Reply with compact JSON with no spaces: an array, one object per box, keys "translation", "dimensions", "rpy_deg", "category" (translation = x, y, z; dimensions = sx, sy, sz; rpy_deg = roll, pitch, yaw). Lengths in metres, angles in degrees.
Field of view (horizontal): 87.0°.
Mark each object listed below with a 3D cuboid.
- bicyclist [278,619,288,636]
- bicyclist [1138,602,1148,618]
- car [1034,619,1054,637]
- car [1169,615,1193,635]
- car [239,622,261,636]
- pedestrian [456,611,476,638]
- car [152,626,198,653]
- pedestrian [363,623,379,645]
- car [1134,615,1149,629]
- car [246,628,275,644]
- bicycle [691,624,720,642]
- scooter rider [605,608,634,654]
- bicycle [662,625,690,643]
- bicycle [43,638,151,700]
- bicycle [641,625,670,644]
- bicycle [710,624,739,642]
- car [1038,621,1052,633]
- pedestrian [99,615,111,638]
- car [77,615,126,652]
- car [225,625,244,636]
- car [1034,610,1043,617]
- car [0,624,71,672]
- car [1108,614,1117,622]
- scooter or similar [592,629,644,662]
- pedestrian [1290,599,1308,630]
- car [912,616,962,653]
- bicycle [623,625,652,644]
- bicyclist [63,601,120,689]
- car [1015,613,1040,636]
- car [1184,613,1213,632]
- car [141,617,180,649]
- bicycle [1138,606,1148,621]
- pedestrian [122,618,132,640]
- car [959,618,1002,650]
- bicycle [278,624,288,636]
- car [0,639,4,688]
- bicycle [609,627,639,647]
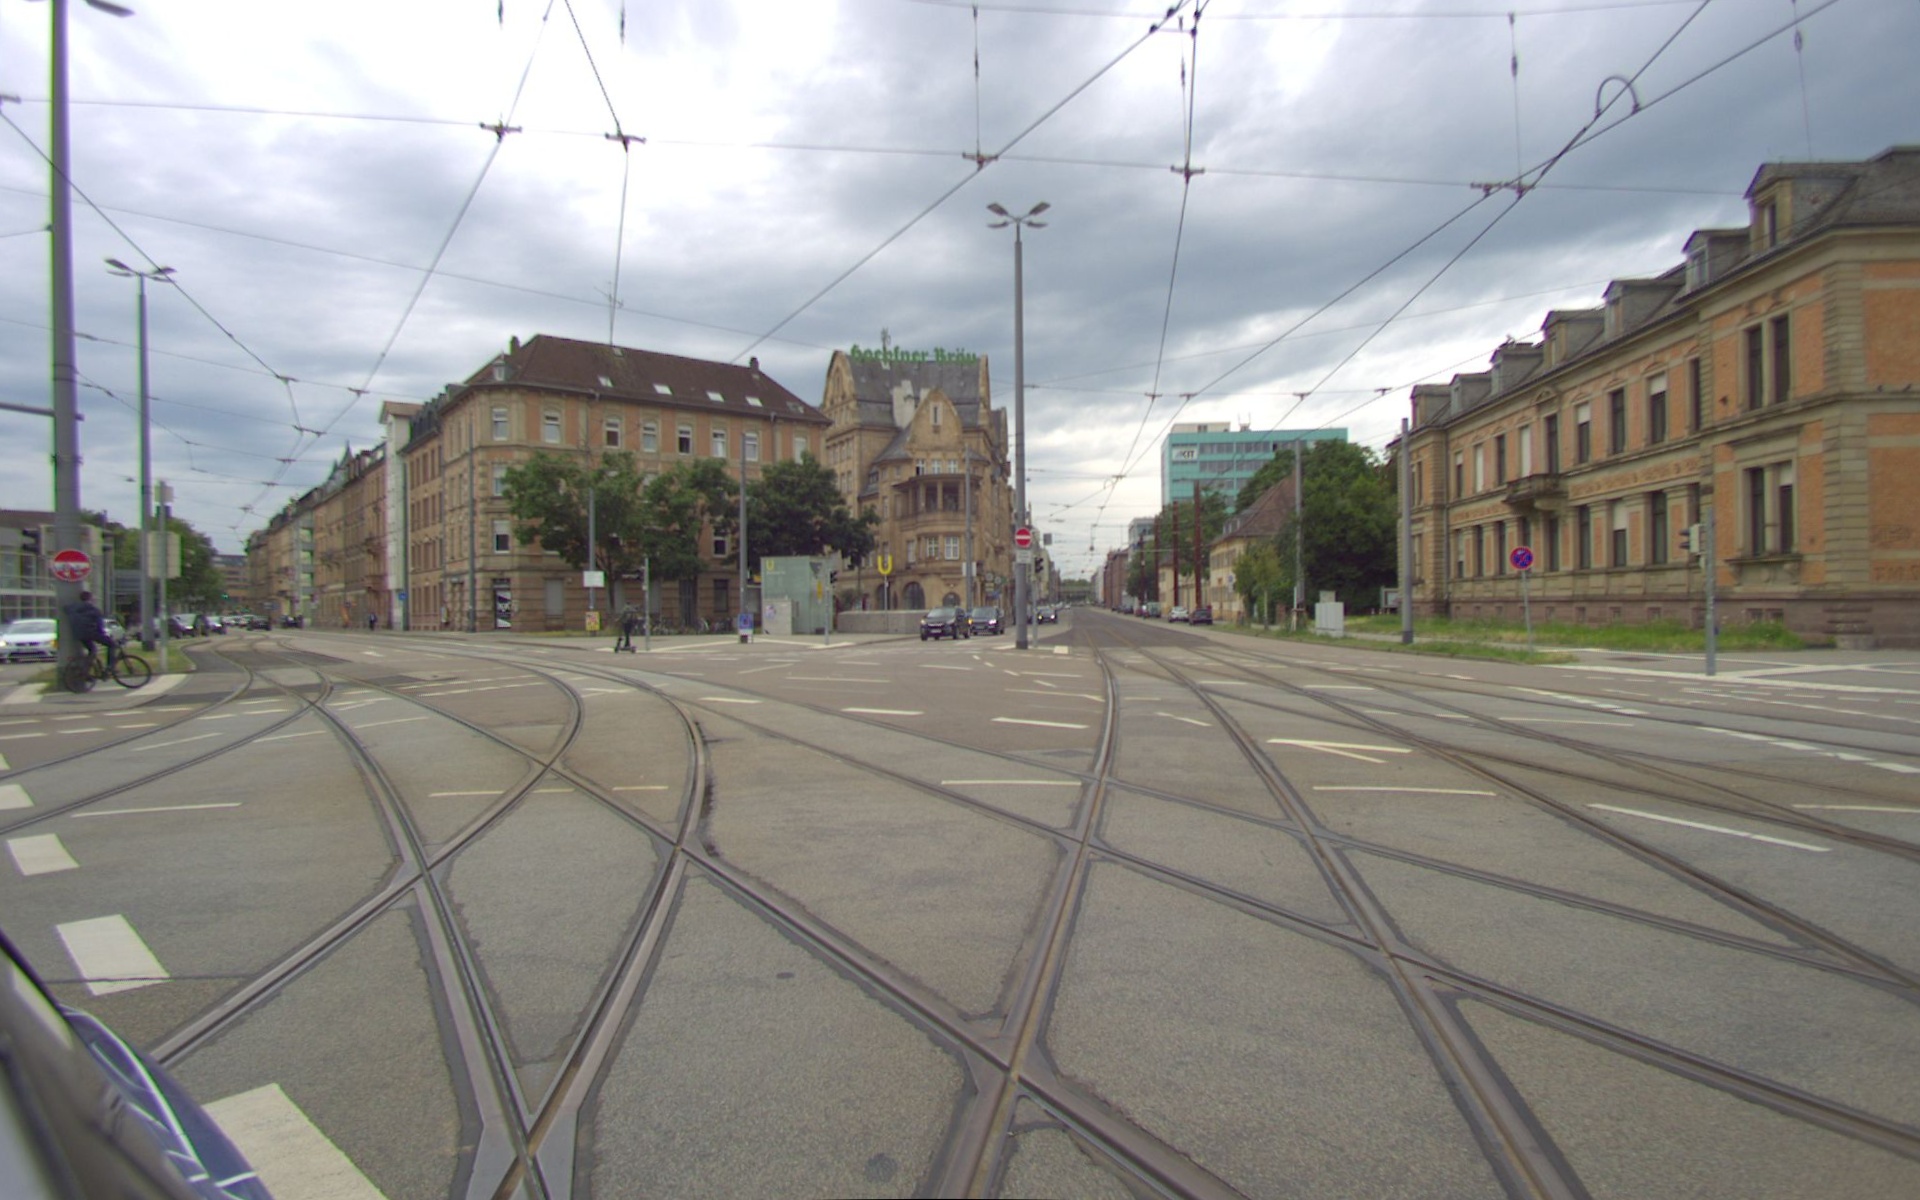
[{"translation":[-73.973,3.016,110.592],"dimensions":[0.811,1.881,0.926],"rpy_deg":[0,-1,-38],"category":"bicyclist"},{"translation":[21.580,1.170,119.504],"dimensions":[1.080,1.796,1.014],"rpy_deg":[-1,0,9],"category":"bicyclist"},{"translation":[7.837,2.610,94.244],"dimensions":[1.810,1.477,3.996],"rpy_deg":[-1,0,5],"category":"car"},{"translation":[21.617,2.454,99.166],"dimensions":[1.978,1.863,3.988],"rpy_deg":[-1,-1,9],"category":"car"},{"translation":[-89.319,3.683,127.288],"dimensions":[1.807,1.657,4.237],"rpy_deg":[-1,0,-40],"category":"car"},{"translation":[-30.884,1.518,63.274],"dimensions":[0.796,1.688,0.803],"rpy_deg":[-1,0,33],"category":"pedestrian"},{"translation":[-56.604,2.819,73.046],"dimensions":[2.335,1.768,5.142],"rpy_deg":[-1,0,-35],"category":"car"},{"translation":[-49.237,2.839,84.579],"dimensions":[0.714,1.846,0.915],"rpy_deg":[-1,-1,16],"category":"pedestrian"},{"translation":[25.984,3.189,144.970],"dimensions":[1.977,1.863,3.989],"rpy_deg":[-1,0,9],"category":"car"},{"translation":[-69.181,3.513,100.058],"dimensions":[1.860,1.481,4.471],"rpy_deg":[-1,0,-40],"category":"car"},{"translation":[-15.061,1.949,59.923],"dimensions":[0.742,1.038,2.401],"rpy_deg":[-1,0,-38],"category":"bicycle"},{"translation":[-12.500,1.136,37.144],"dimensions":[0.816,1.640,0.565],"rpy_deg":[-1,0,21],"category":"scooter rider"},{"translation":[-16.677,1.983,59.385],"dimensions":[0.742,1.038,2.401],"rpy_deg":[-1,0,-38],"category":"bicycle"},{"translation":[-16.563,1.307,19.463],"dimensions":[0.522,1.078,1.608],"rpy_deg":[-1,0,12],"category":"bicycle"},{"translation":[-17.666,1.998,58.703],"dimensions":[0.742,1.038,2.401],"rpy_deg":[-1,0,-38],"category":"bicycle"},{"translation":[-14.227,1.999,61.007],"dimensions":[0.742,1.038,2.401],"rpy_deg":[2,-2,-38],"category":"bicycle"},{"translation":[11.481,3.696,136.884],"dimensions":[1.810,1.477,3.996],"rpy_deg":[-1,0,5],"category":"car"},{"translation":[-64.894,2.026,76.812],"dimensions":[0.653,1.693,0.651],"rpy_deg":[0,-1,-40],"category":"pedestrian"},{"translation":[-49.731,1.928,58.708],"dimensions":[1.968,2.029,4.008],"rpy_deg":[-1,0,-38],"category":"car"},{"translation":[-99.534,4.164,138.848],"dimensions":[1.788,1.442,4.024],"rpy_deg":[-1,0,-40],"category":"car"},{"translation":[17.061,2.954,220.044],"dimensions":[1.810,1.477,3.996],"rpy_deg":[-1,0,5],"category":"car"},{"translation":[-31.583,1.576,34.185],"dimensions":[1.941,1.467,4.203],"rpy_deg":[-1,0,-36],"category":"car"},{"translation":[36.770,4.299,243.861],"dimensions":[1.976,2.029,3.992],"rpy_deg":[-1,-1,6],"category":"car"},{"translation":[-12.556,1.674,37.166],"dimensions":[1.893,1.174,0.570],"rpy_deg":[-1,0,21],"category":"scooter or similar"},{"translation":[20.127,0.869,60.113],"dimensions":[0.801,1.846,0.847],"rpy_deg":[-1,0,9],"category":"pedestrian"},{"translation":[-1.065,1.631,49.380],"dimensions":[1.975,1.623,4.239],"rpy_deg":[-1,0,5],"category":"car"},{"translation":[-18.468,1.964,57.953],"dimensions":[0.742,1.038,2.401],"rpy_deg":[-1,0,-38],"category":"bicycle"},{"translation":[-16.594,0.848,19.352],"dimensions":[0.512,1.651,0.652],"rpy_deg":[-1,0,12],"category":"bicyclist"},{"translation":[5.674,2.031,84.616],"dimensions":[1.811,1.773,3.993],"rpy_deg":[-1,0,7],"category":"car"},{"translation":[19.499,1.801,82.934],"dimensions":[1.977,1.442,3.989],"rpy_deg":[-1,0,9],"category":"car"},{"translation":[-53.398,2.178,67.676],"dimensions":[1.968,2.029,4.008],"rpy_deg":[-1,0,-38],"category":"car"},{"translation":[21.629,1.601,119.635],"dimensions":[1.074,1.763,3.077],"rpy_deg":[-1,0,9],"category":"bicycle"},{"translation":[-73.535,2.562,89.376],"dimensions":[0.642,1.930,0.603],"rpy_deg":[-1,0,-38],"category":"pedestrian"},{"translation":[1.198,1.916,57.856],"dimensions":[2.136,1.727,4.917],"rpy_deg":[-1,-1,5],"category":"car"},{"translation":[-73.985,3.305,110.610],"dimensions":[0.786,1.302,2.416],"rpy_deg":[0,-1,-38],"category":"bicycle"},{"translation":[-42.501,2.713,43.366],"dimensions":[4.000,2.029,1.972],"rpy_deg":[-1,-1,43],"category":"car"},{"translation":[-19.085,2.090,57.458],"dimensions":[0.824,1.038,2.401],"rpy_deg":[-1,0,-38],"category":"bicycle"}]
